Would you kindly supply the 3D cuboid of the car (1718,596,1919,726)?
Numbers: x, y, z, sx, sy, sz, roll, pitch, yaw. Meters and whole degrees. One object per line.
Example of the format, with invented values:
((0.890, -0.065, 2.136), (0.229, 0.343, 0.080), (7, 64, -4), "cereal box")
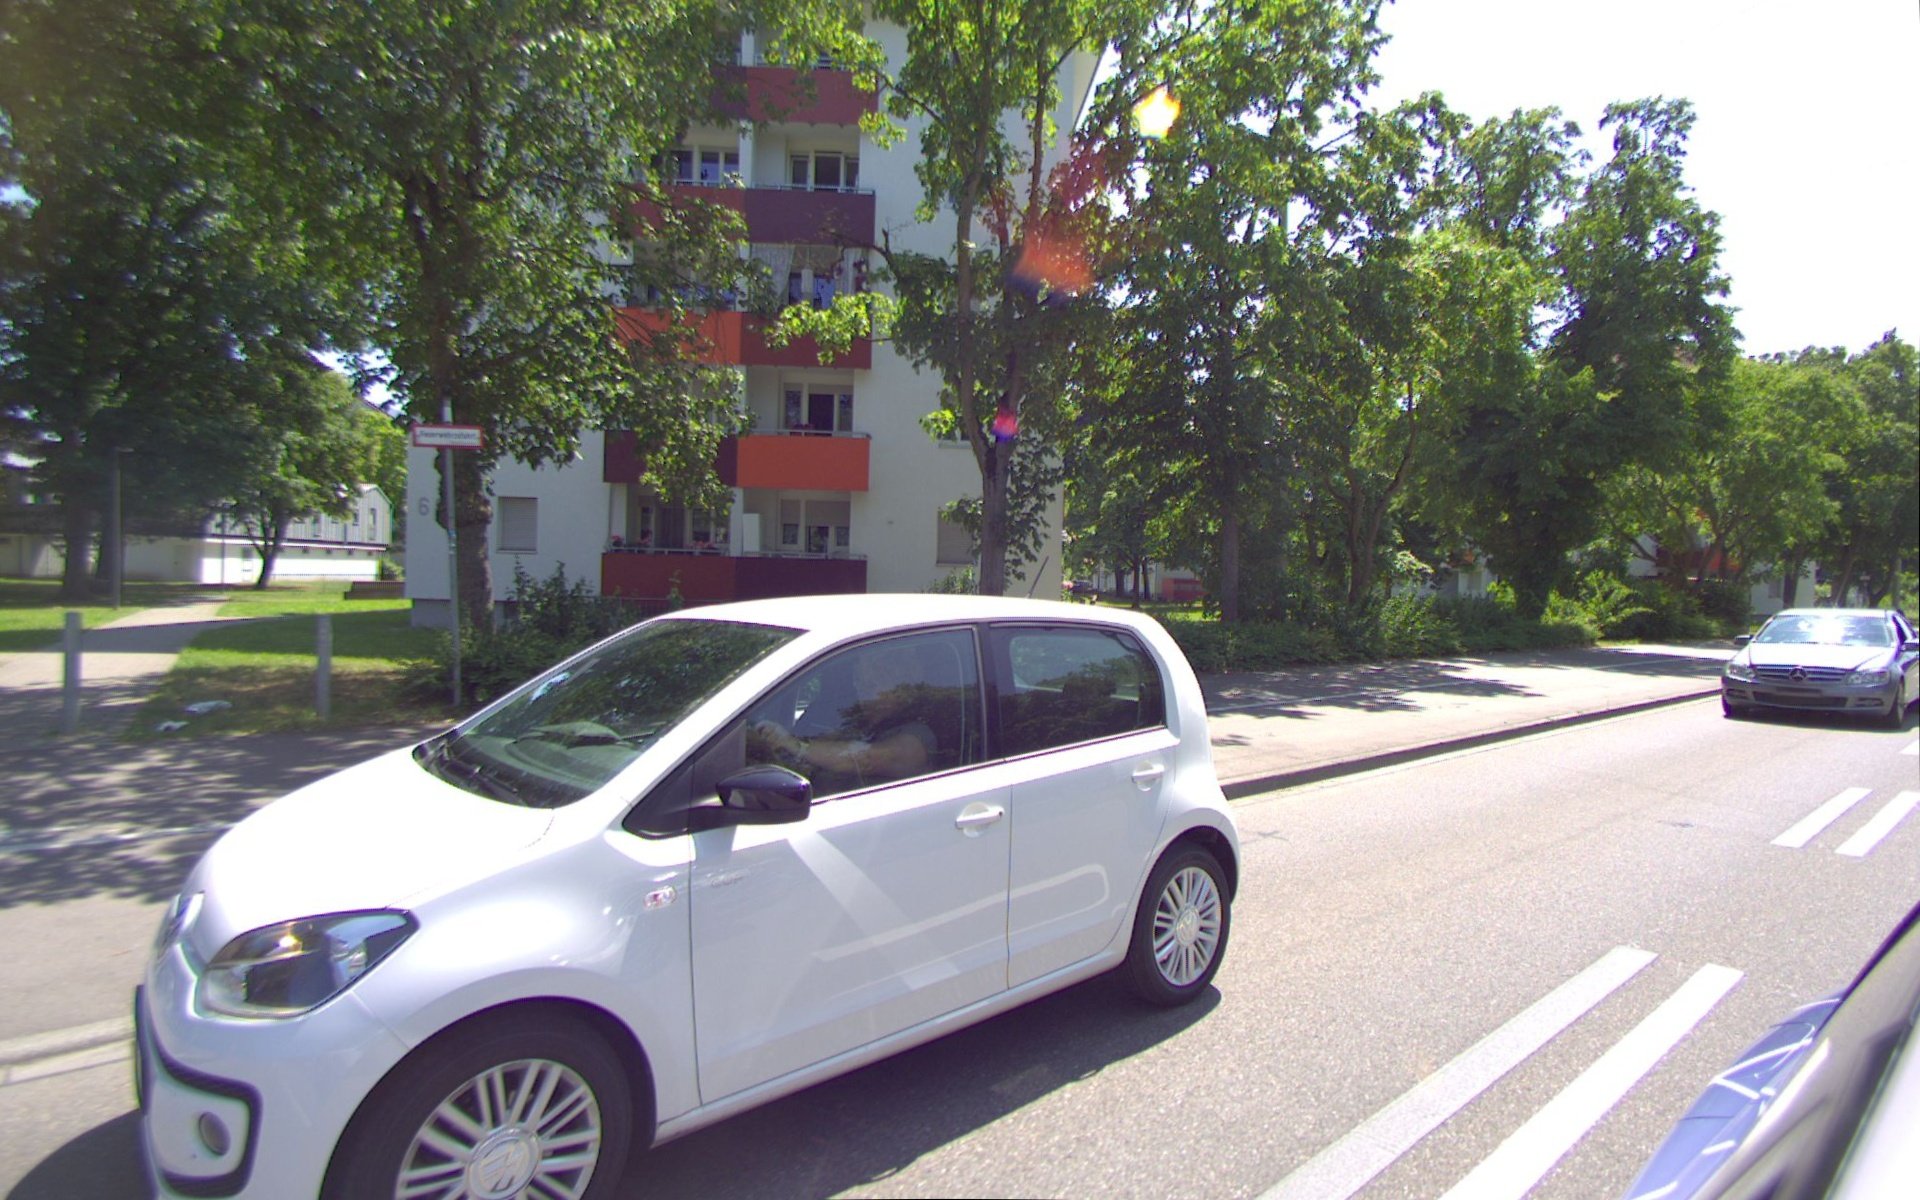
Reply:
((11.858, 0.699, 13.565), (3.900, 1.478, 1.902), (0, 0, -40), "car")

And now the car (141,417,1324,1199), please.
((-0.445, 0.404, 3.596), (3.787, 1.467, 1.662), (0, 1, -41), "car")

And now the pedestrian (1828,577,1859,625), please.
((30.898, 0.025, 35.390), (0.841, 1.664, 0.670), (0, 1, -39), "pedestrian")
